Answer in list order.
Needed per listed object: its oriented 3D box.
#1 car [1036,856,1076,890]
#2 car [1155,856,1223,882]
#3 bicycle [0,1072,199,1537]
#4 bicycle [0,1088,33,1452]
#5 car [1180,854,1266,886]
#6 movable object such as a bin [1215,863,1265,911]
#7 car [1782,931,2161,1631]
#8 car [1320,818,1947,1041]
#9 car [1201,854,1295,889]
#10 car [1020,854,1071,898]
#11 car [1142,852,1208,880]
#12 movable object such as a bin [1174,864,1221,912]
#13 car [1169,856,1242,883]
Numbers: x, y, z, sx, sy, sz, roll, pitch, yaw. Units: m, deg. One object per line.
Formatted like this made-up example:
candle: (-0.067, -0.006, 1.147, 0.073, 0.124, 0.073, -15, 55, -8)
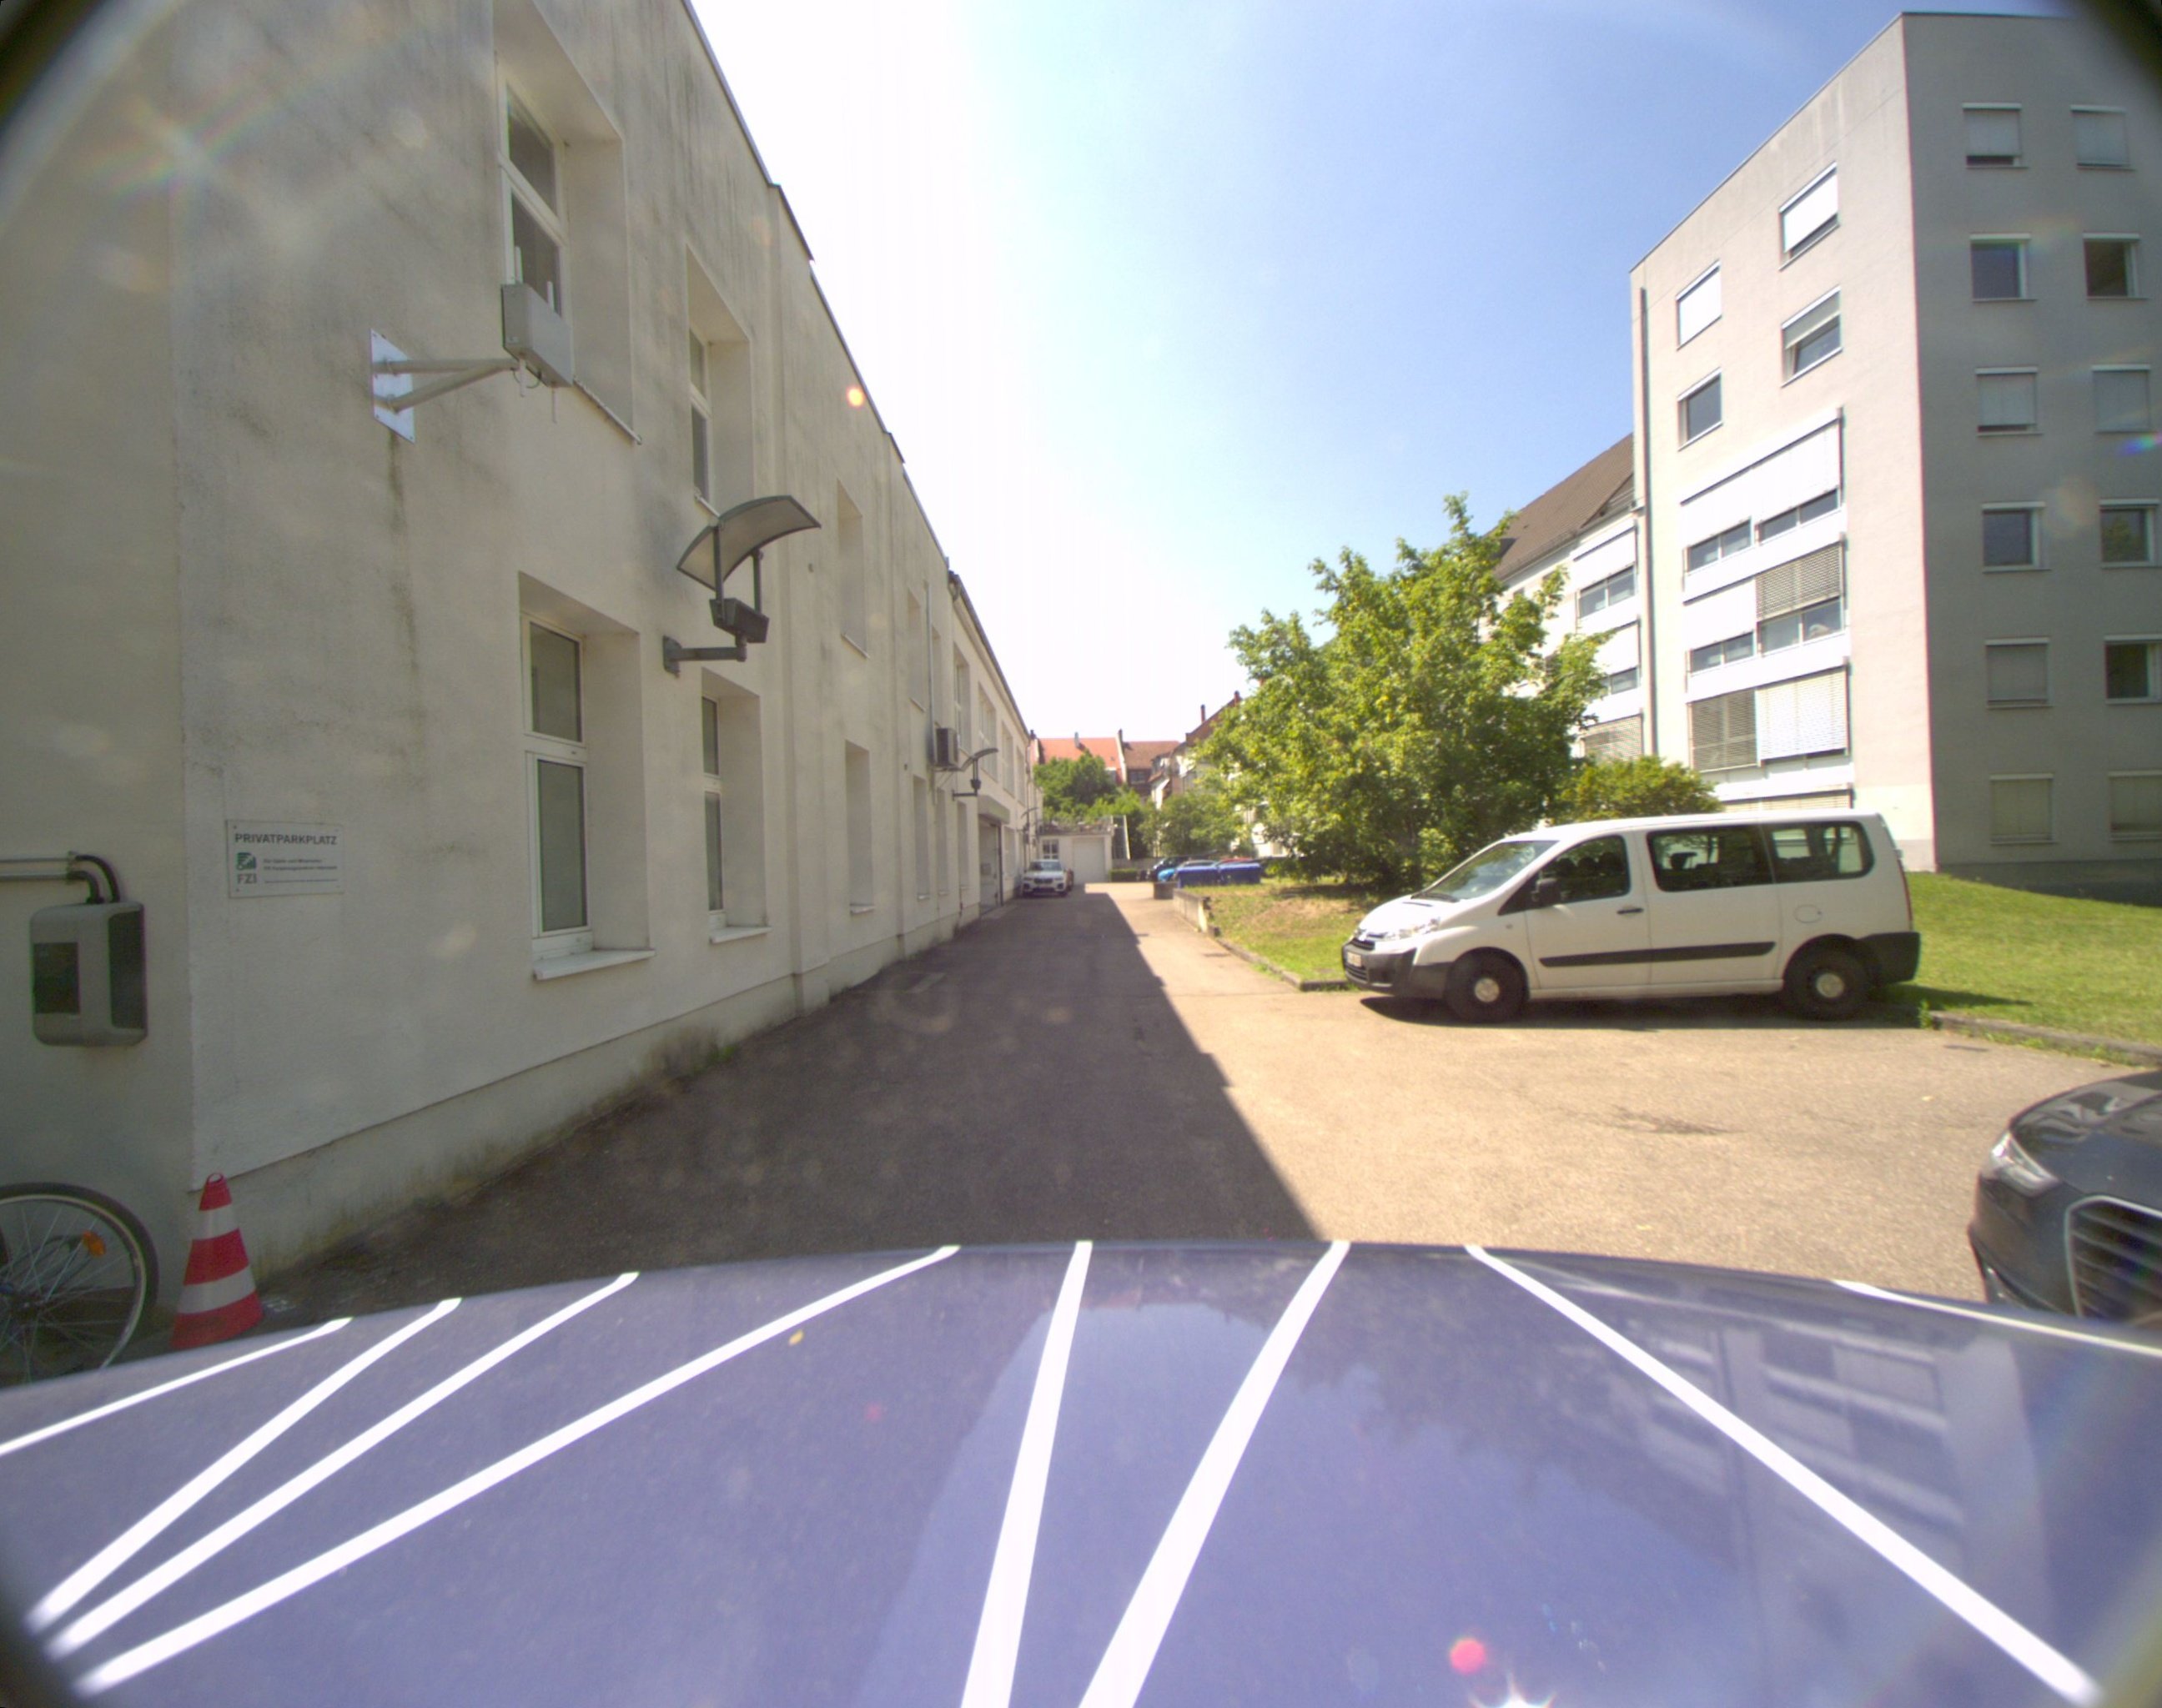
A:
car: (-1.388, 1.044, 44.431, 2.011, 1.792, 4.727, -2, 1, 1)
car: (7.178, 0.969, 50.651, 4.223, 1.560, 1.612, -2, 1, -5)
bicycle: (-3.059, 1.251, 1.510, 0.406, 1.095, 1.826, -2, 1, 1)
bicycle: (-3.529, 1.289, 1.466, 0.406, 1.095, 1.826, -2, 1, 1)
car: (7.621, 0.853, 40.968, 4.223, 1.560, 1.612, -2, 1, -5)
movable object such as a bin: (4.853, 0.982, 23.300, 1.271, 1.380, 1.095, -2, 1, 1)
car: (4.445, 0.866, 1.317, 4.439, 1.371, 2.025, -2, -2, 3)
car: (5.205, 0.685, 7.807, 4.858, 1.872, 2.068, -2, 1, 3)
car: (8.234, 0.825, 37.655, 4.223, 1.560, 1.612, -2, 1, -5)
car: (-1.592, 0.963, 35.628, 2.011, 1.792, 4.727, -2, 1, 1)
car: (6.594, 0.839, 53.593, 4.223, 1.812, 2.009, -2, 1, -5)
movable object such as a bin: (3.555, 1.021, 23.293, 1.271, 1.380, 1.095, -2, 1, 1)
car: (7.749, 0.955, 47.585, 4.223, 1.560, 1.612, -2, 1, -5)
